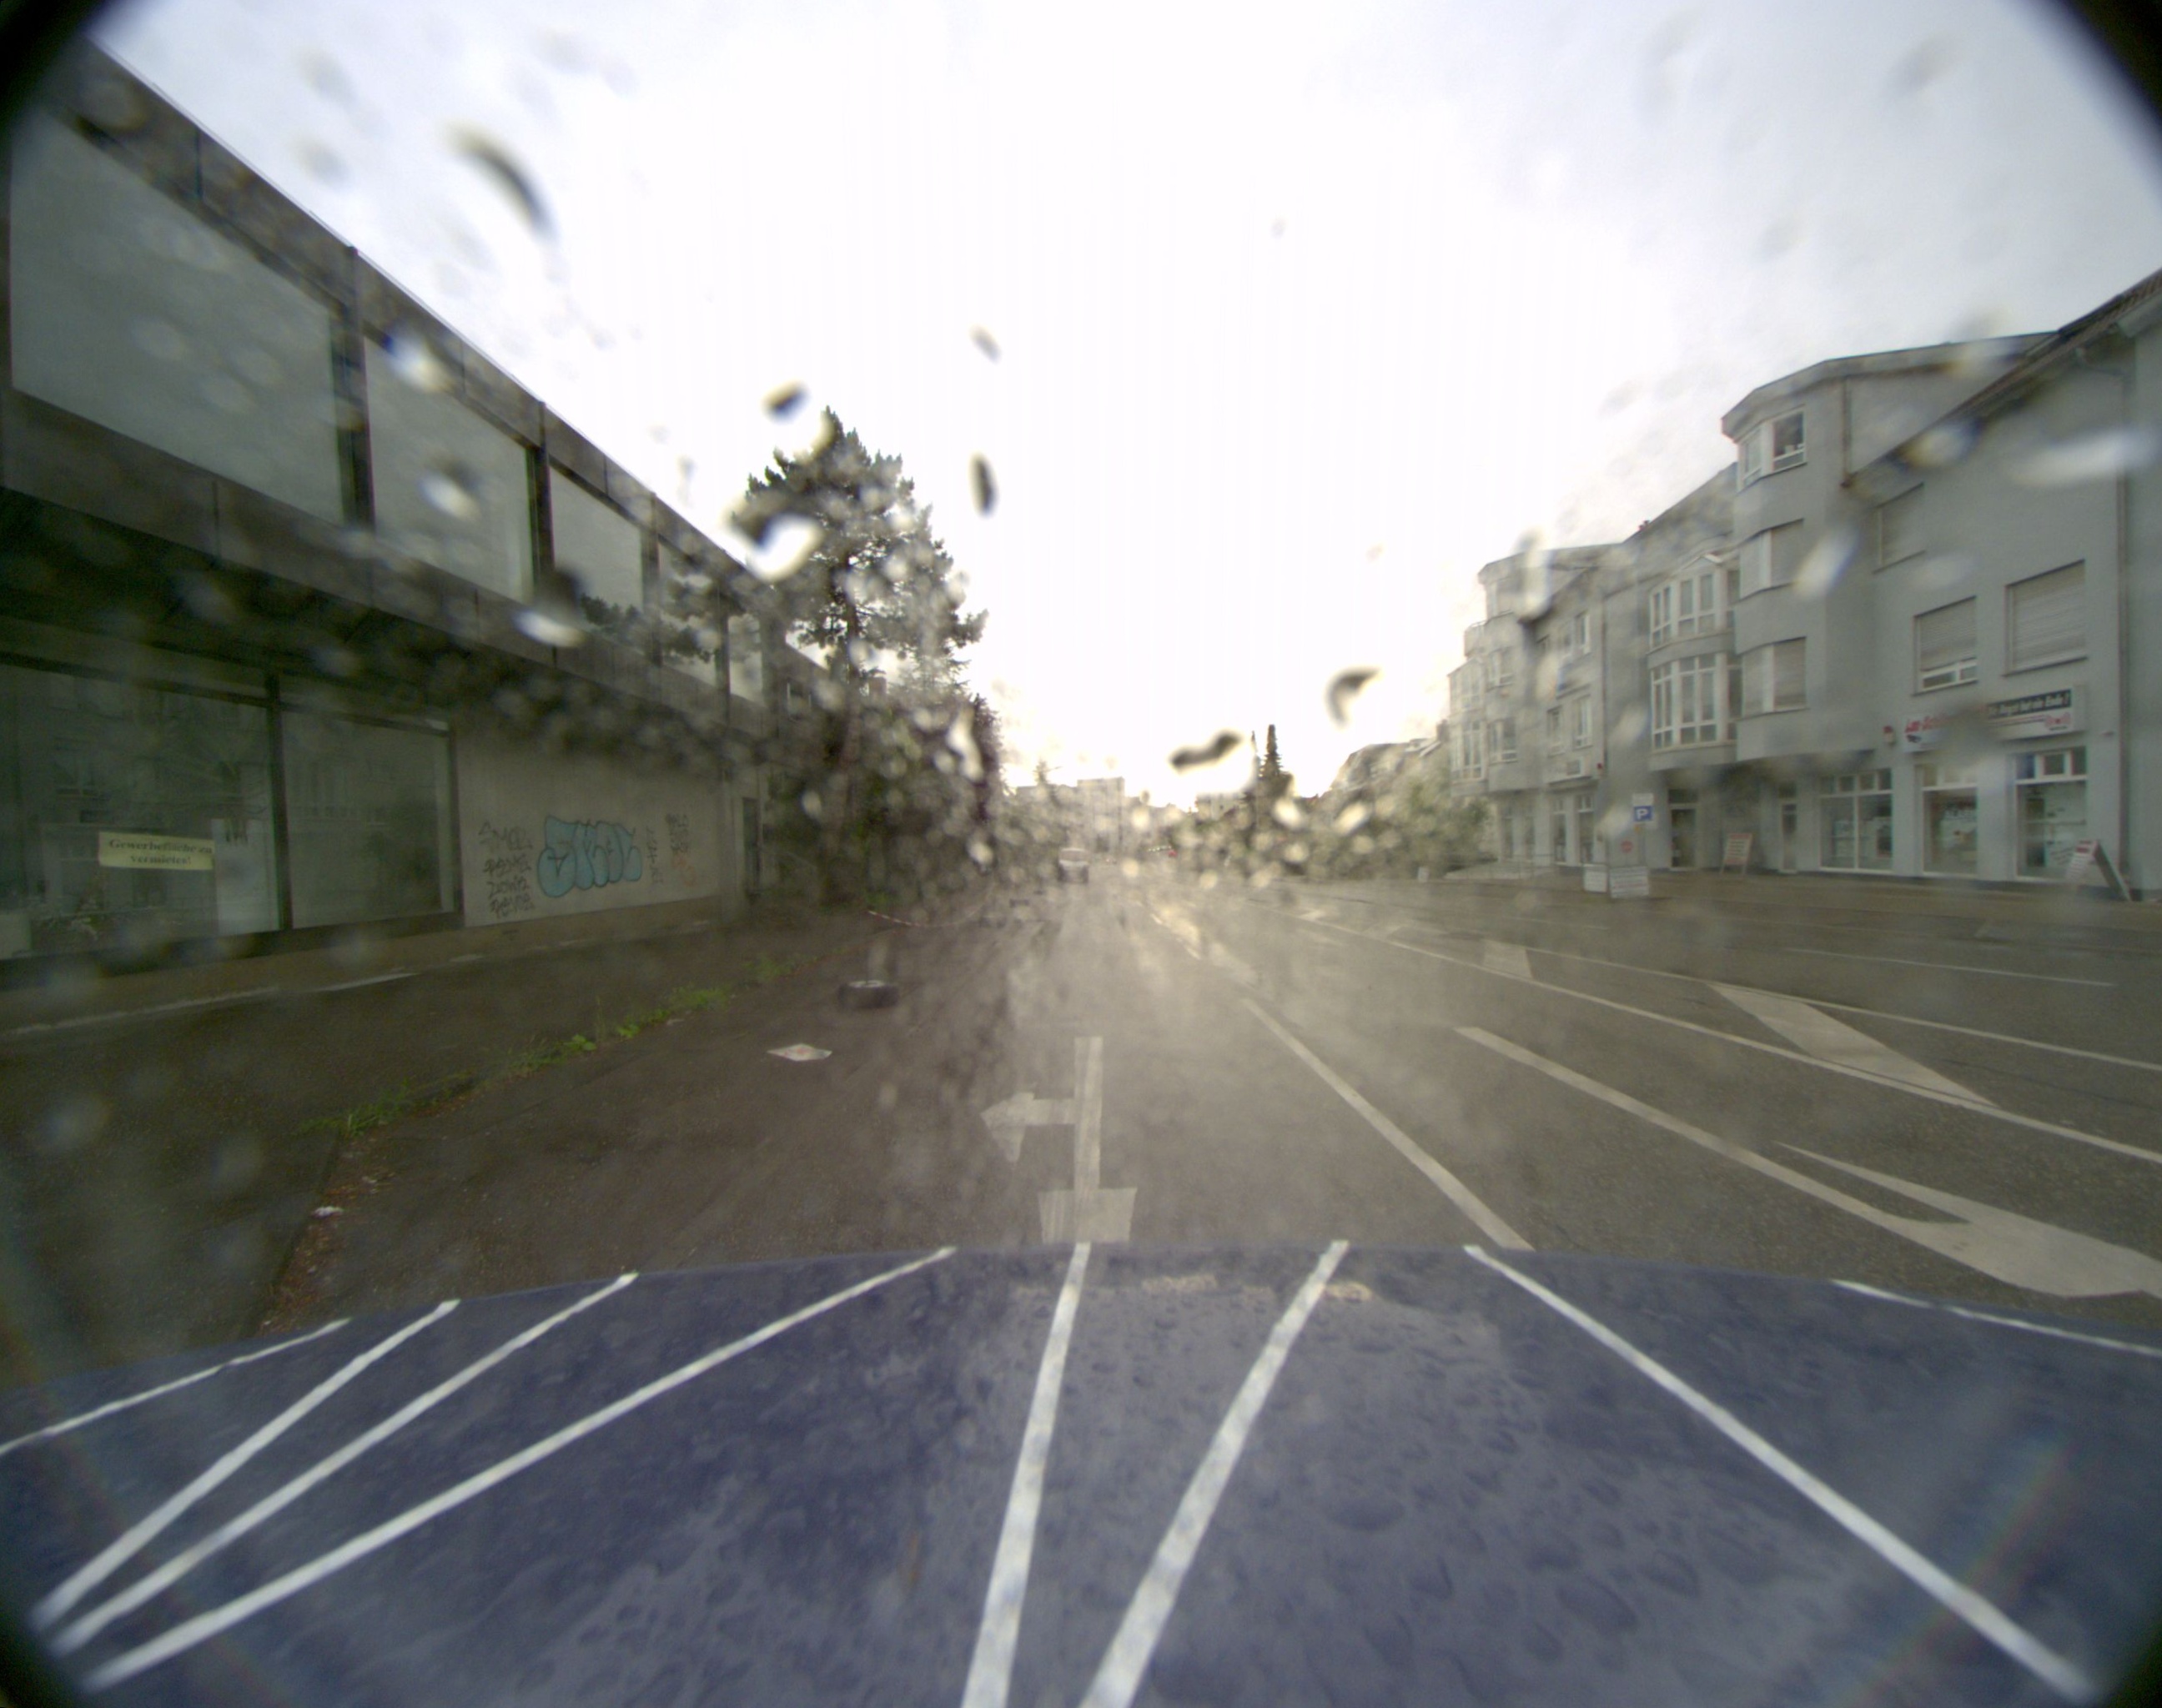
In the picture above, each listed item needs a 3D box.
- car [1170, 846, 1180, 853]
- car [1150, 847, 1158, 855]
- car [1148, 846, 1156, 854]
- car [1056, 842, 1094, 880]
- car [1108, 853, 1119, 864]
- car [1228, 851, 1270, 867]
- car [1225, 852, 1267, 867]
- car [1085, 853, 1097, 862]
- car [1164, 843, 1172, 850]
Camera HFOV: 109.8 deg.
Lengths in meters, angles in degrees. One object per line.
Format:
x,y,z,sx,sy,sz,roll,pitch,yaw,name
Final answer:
22.449,-1.027,180.575,1.997,1.606,4.003,-1,0,11,car
17.690,-0.636,184.167,1.851,1.870,4.122,-1,0,5,car
17.972,-1.025,191.196,1.851,1.753,4.123,-1,0,6,car
-0.323,0.435,51.650,2.397,2.417,6.433,-1,0,1,car
5.767,0.767,135.496,1.835,1.783,3.838,-3,0,3,car
17.151,0.545,77.690,4.034,1.434,1.813,-3,0,6,car
17.387,0.555,80.173,4.155,1.434,1.891,-3,0,8,car
1.799,0.609,133.897,1.912,1.622,3.703,-1,0,5,car
24.478,-2.163,214.504,1.850,1.753,4.124,-1,0,11,car
